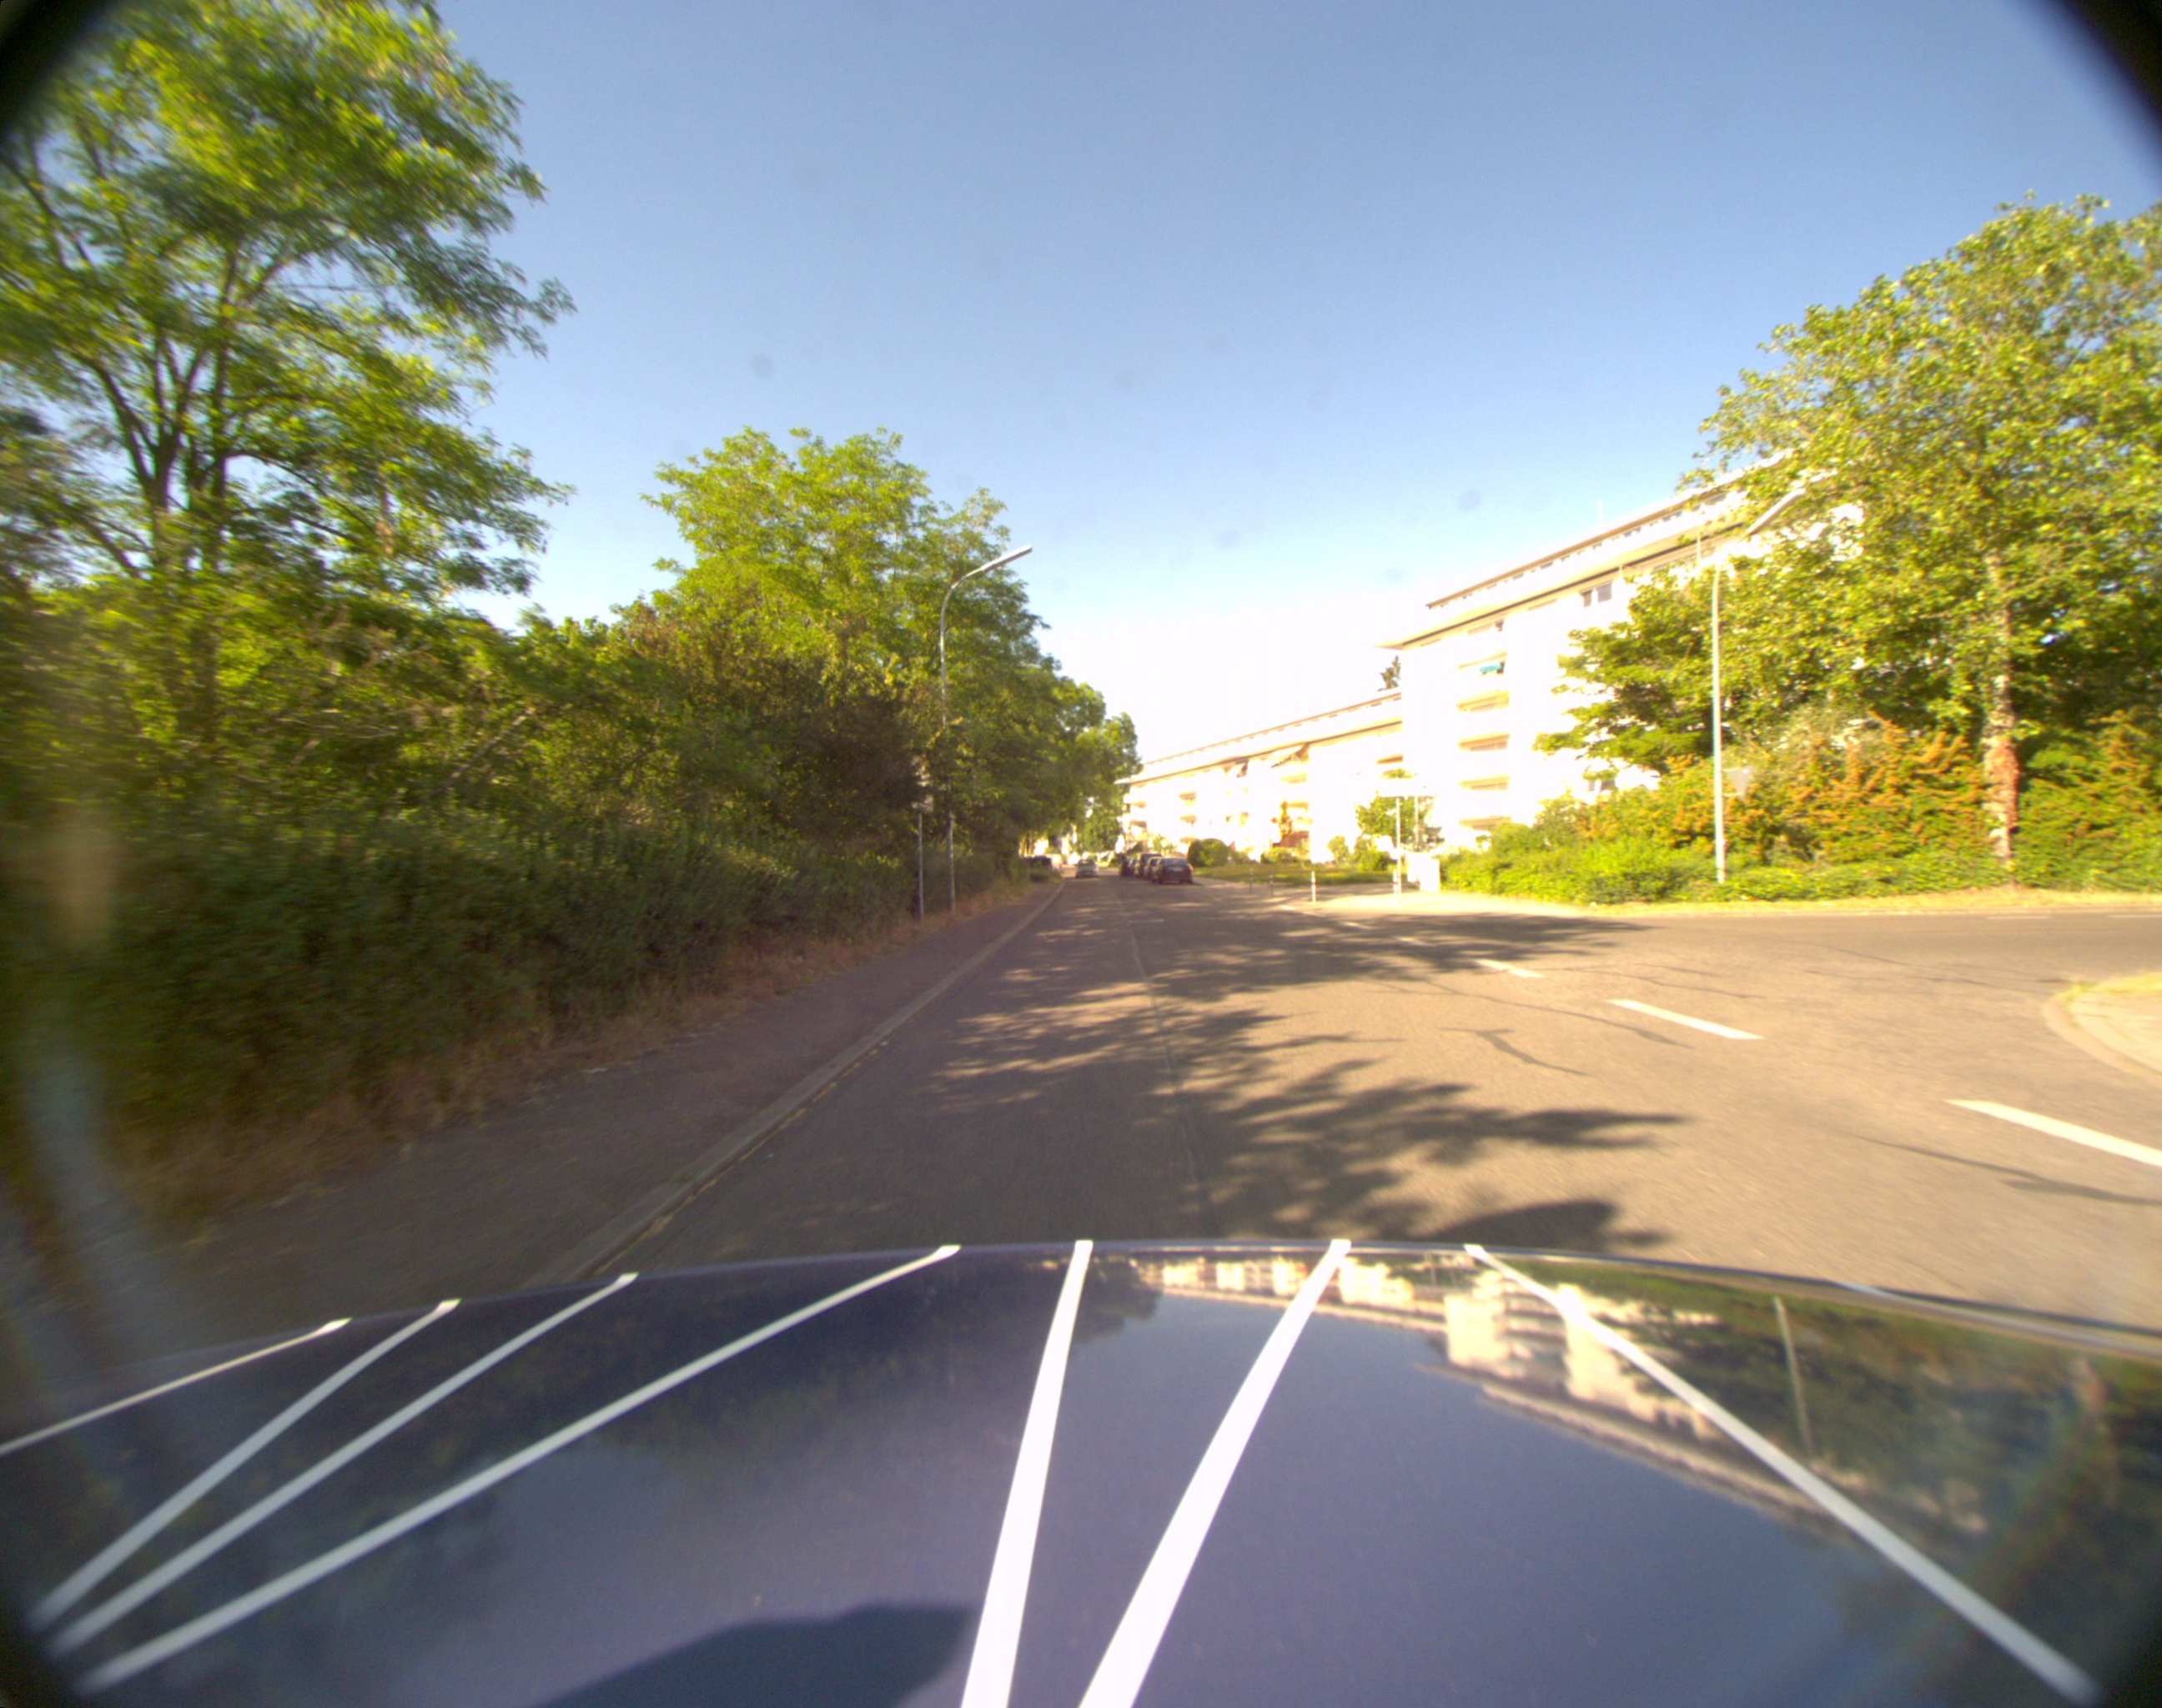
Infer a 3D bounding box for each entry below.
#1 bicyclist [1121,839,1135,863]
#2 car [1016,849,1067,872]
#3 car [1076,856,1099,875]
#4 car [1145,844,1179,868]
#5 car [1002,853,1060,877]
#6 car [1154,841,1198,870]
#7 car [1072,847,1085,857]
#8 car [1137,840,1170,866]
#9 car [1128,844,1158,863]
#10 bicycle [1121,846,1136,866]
[{"bbox_3d":[3.365,-0.220,54.296,0.847,1.648,1.064,-2,1,0],"label":"bicyclist"},{"bbox_3d":[-3.588,0.613,69.525,4.463,2.005,2.021,-1,0,0],"label":"car"},{"bbox_3d":[0.464,0.863,59.742,1.597,1.417,4.169,1,1,-2],"label":"car"},{"bbox_3d":[5.148,0.102,48.741,1.844,1.446,4.018,0,0,1],"label":"car"},{"bbox_3d":[-3.707,0.840,56.897,4.158,1.685,1.775,-1,0,1],"label":"car"},{"bbox_3d":[5.200,0.096,42.076,1.732,1.455,4.682,-1,0,-1],"label":"car"},{"bbox_3d":[-0.526,-0.363,152.992,2.008,1.837,4.613,-4,1,-6],"label":"car"},{"bbox_3d":[5.252,-0.103,55.287,1.845,1.770,4.887,-1,1,-1],"label":"car"},{"bbox_3d":[4.966,-0.064,61.309,1.845,1.473,4.573,1,0,-2],"label":"car"},{"bbox_3d":[3.363,0.139,54.042,0.853,1.363,3.220,-2,1,0],"label":"bicycle"}]
